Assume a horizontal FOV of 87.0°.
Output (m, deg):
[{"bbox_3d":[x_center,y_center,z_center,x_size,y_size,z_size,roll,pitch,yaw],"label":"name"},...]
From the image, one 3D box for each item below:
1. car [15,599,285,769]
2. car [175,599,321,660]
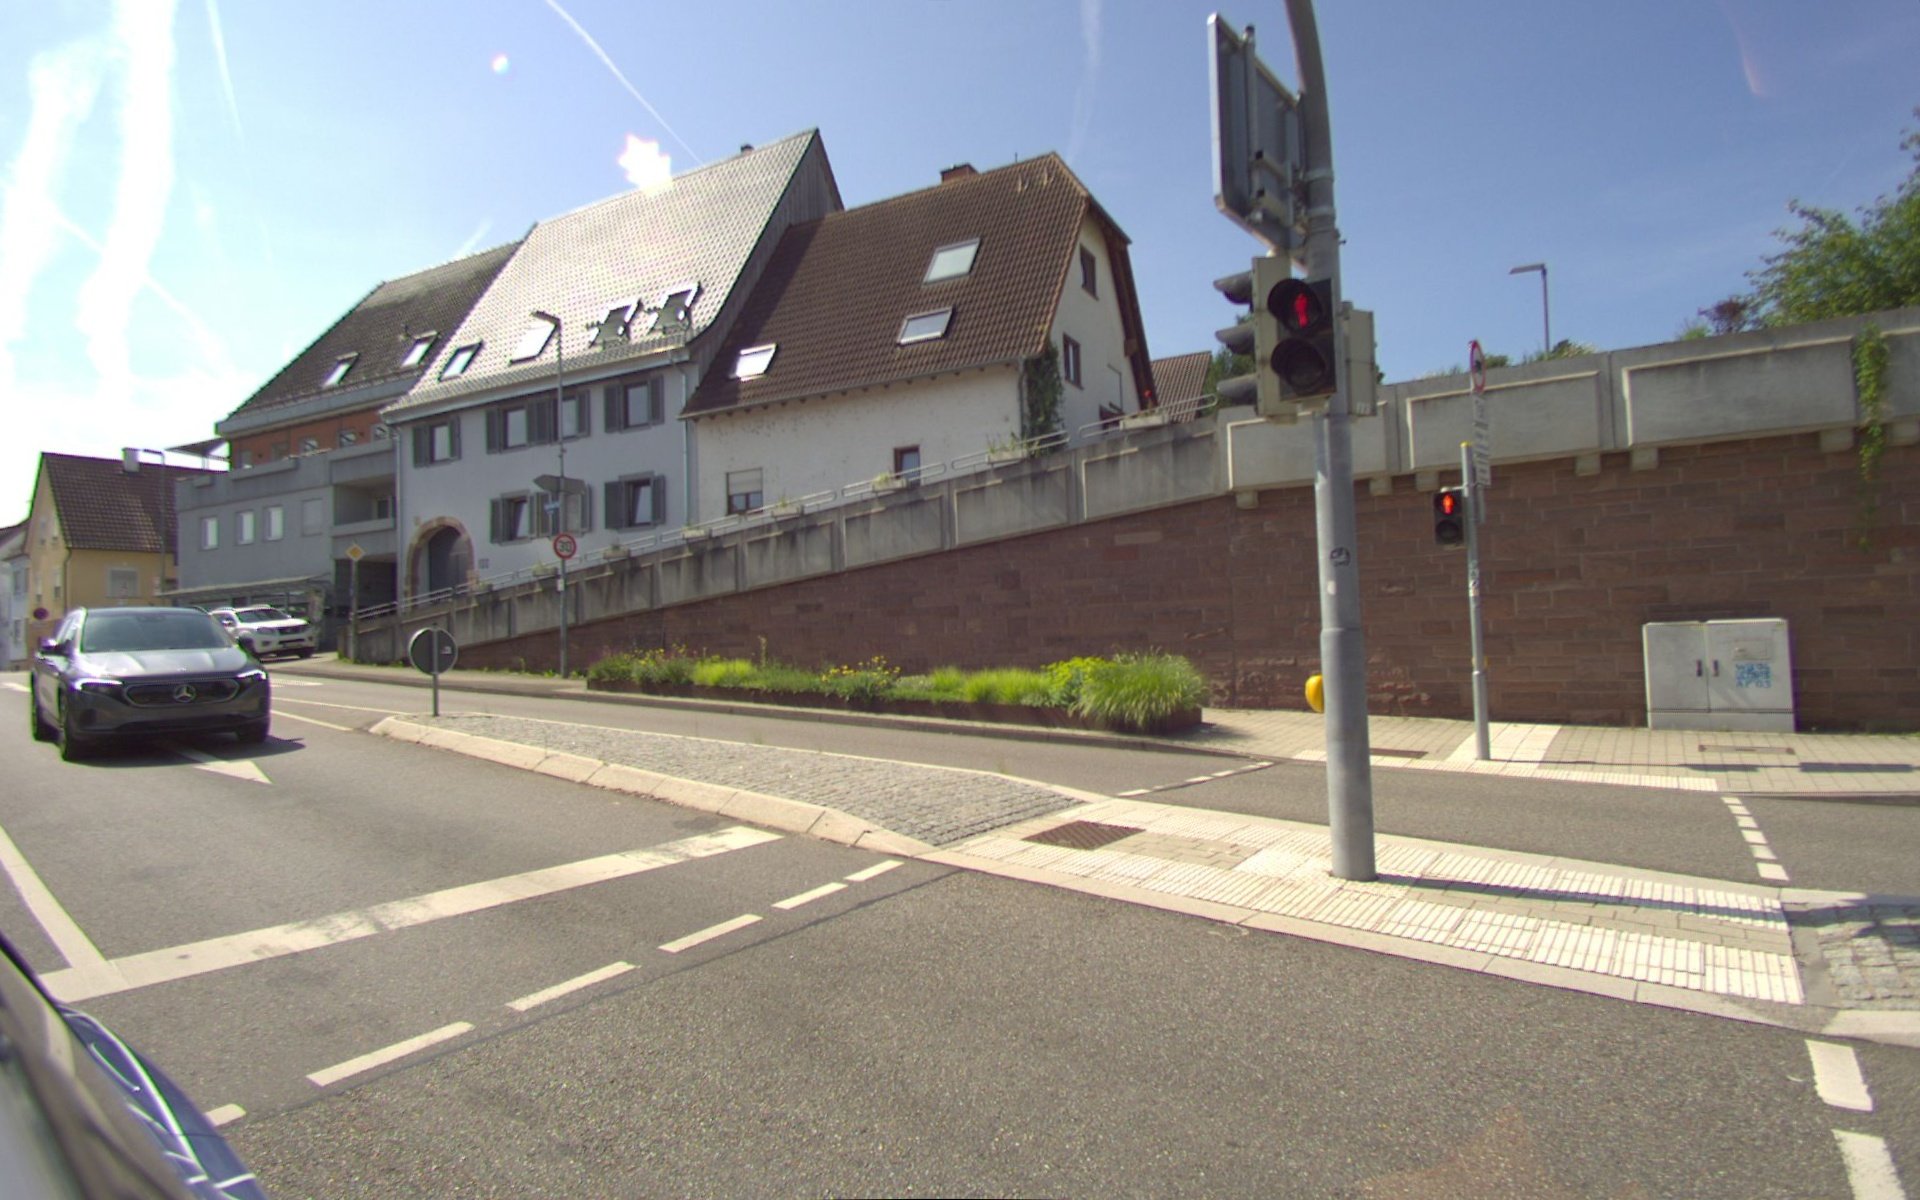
[{"bbox_3d":[-9.483,0.844,11.716,4.288,1.585,1.715,-2,0,42],"label":"car"},{"bbox_3d":[-22.937,0.973,32.558,5.264,1.812,1.792,-2,-1,30],"label":"car"}]
